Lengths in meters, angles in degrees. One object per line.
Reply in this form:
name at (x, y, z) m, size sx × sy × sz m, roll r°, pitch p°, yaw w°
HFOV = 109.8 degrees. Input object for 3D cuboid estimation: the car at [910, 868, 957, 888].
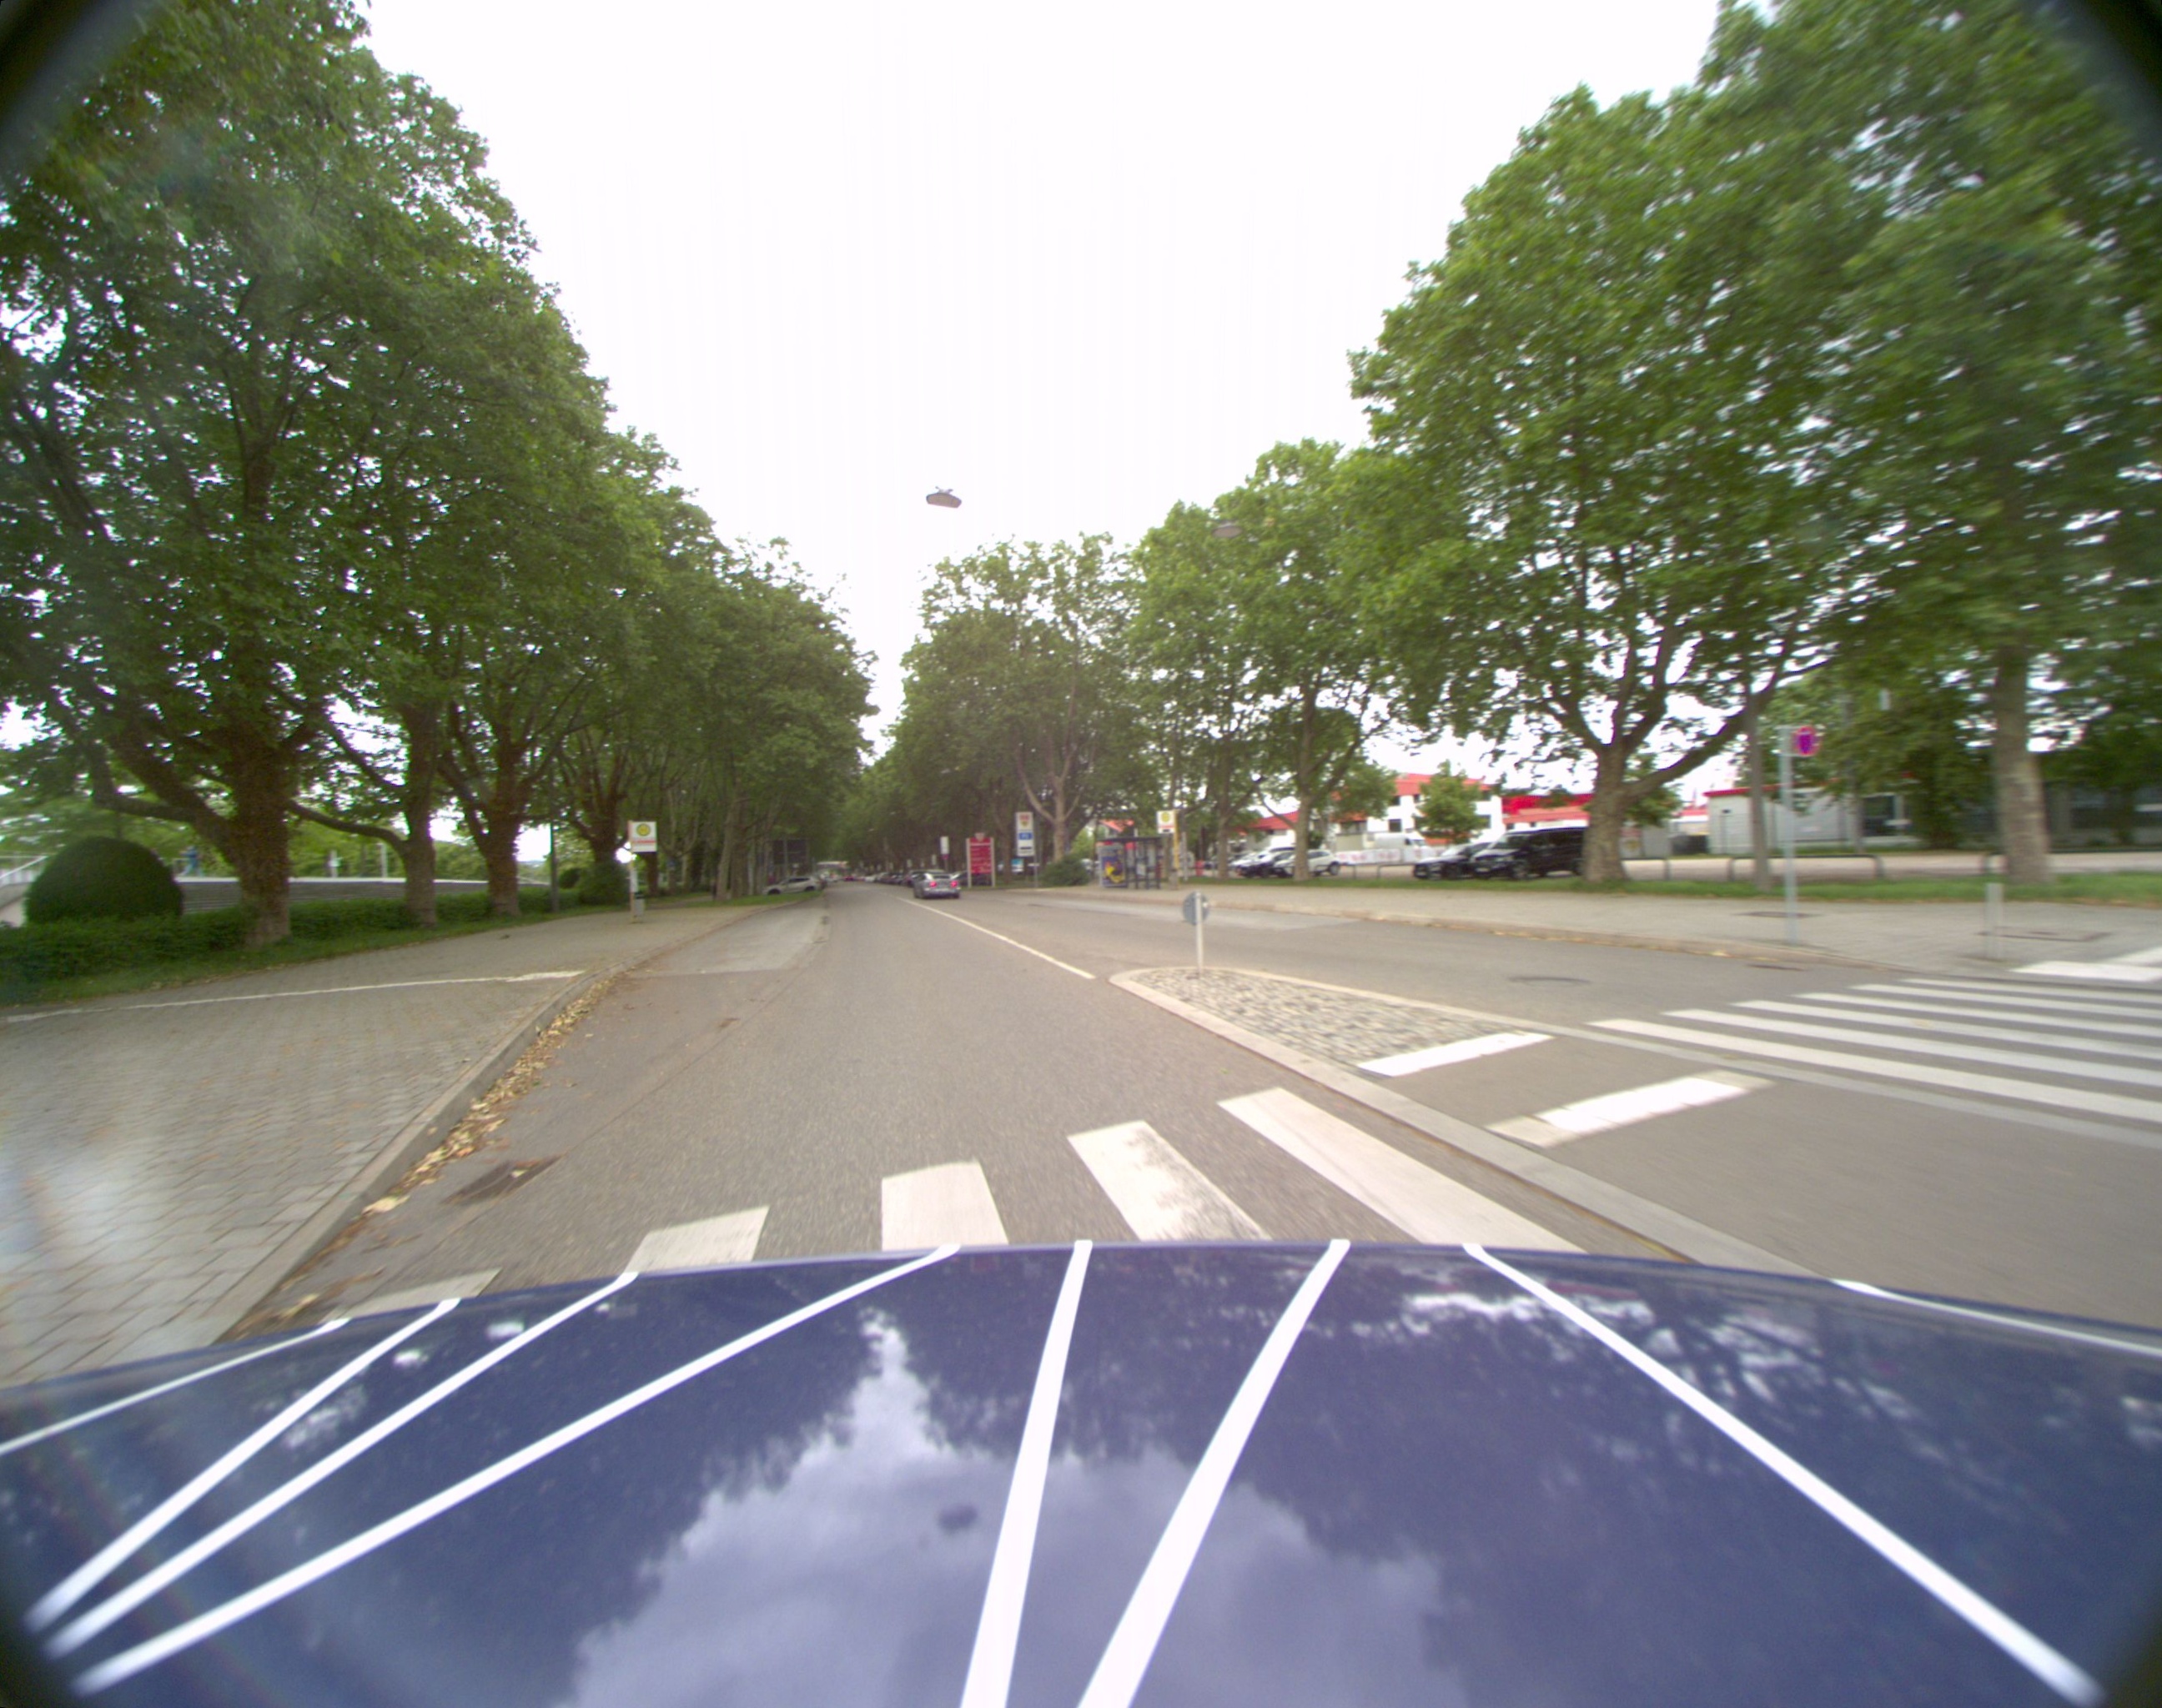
car at (-14.421, 2.313, 74.196) m, size 4.335 × 1.799 × 1.865 m, roll -1°, pitch -1°, yaw -18°

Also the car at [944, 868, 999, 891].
car at (-8.621, 2.000, 59.712) m, size 4.009 × 1.531 × 1.802 m, roll -3°, pitch 0°, yaw -17°

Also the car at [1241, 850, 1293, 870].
car at (16.750, 0.523, 68.467) m, size 4.234 × 1.539 × 1.787 m, roll -3°, pitch 0°, yaw -20°

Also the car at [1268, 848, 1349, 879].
car at (13.037, 0.525, 43.599) m, size 4.002 × 1.514 × 1.999 m, roll -3°, pitch 0°, yaw -18°

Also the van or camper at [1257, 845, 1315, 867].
van or camper at (17.869, 0.163, 66.307) m, size 4.338 × 1.699 × 2.128 m, roll -3°, pitch 0°, yaw -19°

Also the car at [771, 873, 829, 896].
car at (-23.289, 2.523, 63.177) m, size 4.363 × 1.595 × 1.923 m, roll -4°, pitch 0°, yaw -18°

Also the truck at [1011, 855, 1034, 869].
truck at (-11.983, 1.690, 156.067) m, size 4.003 × 2.701 × 2.373 m, roll -3°, pitch 0°, yaw -19°

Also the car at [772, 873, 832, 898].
car at (-22.261, 2.478, 60.759) m, size 4.363 × 1.624 × 1.923 m, roll -4°, pitch 0°, yaw -18°

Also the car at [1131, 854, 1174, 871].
car at (8.626, 1.044, 91.930) m, size 4.595 × 1.844 × 2.294 m, roll -3°, pitch 0°, yaw -13°

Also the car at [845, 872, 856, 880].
car at (-48.000, 4.521, 158.281) m, size 1.850 × 1.501 × 4.009 m, roll -3°, pitch 0°, yaw -20°

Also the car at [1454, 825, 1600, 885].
car at (17.366, 0.020, 29.659) m, size 4.634 × 2.014 × 2.260 m, roll -3°, pitch 0°, yaw -16°

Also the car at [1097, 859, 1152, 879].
car at (3.912, 1.320, 68.503) m, size 4.338 × 1.539 × 2.200 m, roll -3°, pitch 0°, yaw -19°

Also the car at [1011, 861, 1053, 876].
car at (-6.526, 1.971, 101.162) m, size 4.962 × 1.786 × 2.180 m, roll -3°, pitch -1°, yaw -21°

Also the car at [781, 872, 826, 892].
car at (-29.809, 3.016, 81.714) m, size 4.364 × 1.735 × 1.834 m, roll -4°, pitch 0°, yaw -20°

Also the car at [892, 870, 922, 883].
car at (-23.992, 3.142, 104.783) m, size 3.947 × 1.698 × 1.749 m, roll -1°, pitch -1°, yaw -20°

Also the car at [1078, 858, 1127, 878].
car at (2.112, 1.363, 75.565) m, size 4.338 × 1.699 × 2.128 m, roll -3°, pitch 0°, yaw -19°

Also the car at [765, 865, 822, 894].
car at (-22.766, 2.036, 60.412) m, size 4.002 × 2.001 × 1.997 m, roll -4°, pitch 0°, yaw -18°

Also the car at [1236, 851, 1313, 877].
car at (11.699, 0.616, 46.032) m, size 4.003 × 1.316 × 1.999 m, roll -3°, pitch 0°, yaw -19°

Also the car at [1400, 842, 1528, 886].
car at (16.308, 0.391, 32.423) m, size 4.643 × 1.558 × 2.106 m, roll -3°, pitch 1°, yaw -16°

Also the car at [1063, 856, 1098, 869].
car at (-0.112, 1.348, 118.269) m, size 4.962 × 1.786 × 2.179 m, roll -3°, pitch 0°, yaw -21°

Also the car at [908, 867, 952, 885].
car at (-16.102, 2.332, 80.972) m, size 4.336 × 1.799 × 1.864 m, roll -1°, pitch -1°, yaw -22°

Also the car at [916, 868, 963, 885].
car at (-13.782, 2.190, 73.975) m, size 4.206 × 1.346 × 1.964 m, roll -3°, pitch 0°, yaw -20°

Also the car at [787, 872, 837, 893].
car at (-25.728, 2.745, 72.750) m, size 4.364 × 1.750 × 1.922 m, roll -2°, pitch 0°, yaw -20°

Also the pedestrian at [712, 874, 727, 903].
pedestrian at (-25.707, 2.419, 54.038) m, size 0.788 × 2.002 × 0.597 m, roll -4°, pitch 1°, yaw -34°

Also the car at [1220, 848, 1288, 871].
car at (13.509, 0.410, 59.482) m, size 4.971 × 1.543 × 2.101 m, roll -3°, pitch 0°, yaw 9°

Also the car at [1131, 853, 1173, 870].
car at (8.866, 0.952, 94.635) m, size 4.595 × 1.844 × 2.294 m, roll -3°, pitch 0°, yaw -13°

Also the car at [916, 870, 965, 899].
car at (-7.764, 1.646, 41.613) m, size 1.909 × 1.444 × 4.808 m, roll -1°, pitch -1°, yaw -19°

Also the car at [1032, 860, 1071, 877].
car at (-3.725, 1.838, 94.374) m, size 4.338 × 1.850 × 2.025 m, roll -3°, pitch 0°, yaw -19°

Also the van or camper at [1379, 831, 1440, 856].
van or camper at (29.731, -0.920, 69.014) m, size 2.001 × 2.002 × 5.295 m, roll -3°, pitch 0°, yaw -19°

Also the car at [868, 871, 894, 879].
car at (-36.038, 3.830, 137.163) m, size 4.426 × 1.416 × 1.773 m, roll -1°, pitch -1°, yaw -20°

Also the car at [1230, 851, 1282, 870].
car at (16.272, 0.598, 70.737) m, size 4.338 × 1.539 × 1.956 m, roll -3°, pitch 0°, yaw -19°

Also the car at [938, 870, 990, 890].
car at (-9.942, 2.185, 64.473) m, size 4.009 × 1.485 × 1.829 m, roll -3°, pitch 0°, yaw -18°

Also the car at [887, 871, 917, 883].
car at (-25.202, 3.260, 106.881) m, size 3.946 × 1.507 × 1.726 m, roll -1°, pitch -1°, yaw -17°

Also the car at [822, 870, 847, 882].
car at (-47.884, 4.245, 147.574) m, size 1.995 × 2.002 × 4.008 m, roll -3°, pitch 0°, yaw 41°

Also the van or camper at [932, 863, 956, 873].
van or camper at (-33.389, 3.507, 184.530) m, size 5.306 × 2.087 × 2.241 m, roll -3°, pitch 0°, yaw -21°

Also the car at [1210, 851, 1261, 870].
car at (14.836, 0.640, 72.926) m, size 4.338 × 1.539 × 1.956 m, roll -3°, pitch 0°, yaw -19°
